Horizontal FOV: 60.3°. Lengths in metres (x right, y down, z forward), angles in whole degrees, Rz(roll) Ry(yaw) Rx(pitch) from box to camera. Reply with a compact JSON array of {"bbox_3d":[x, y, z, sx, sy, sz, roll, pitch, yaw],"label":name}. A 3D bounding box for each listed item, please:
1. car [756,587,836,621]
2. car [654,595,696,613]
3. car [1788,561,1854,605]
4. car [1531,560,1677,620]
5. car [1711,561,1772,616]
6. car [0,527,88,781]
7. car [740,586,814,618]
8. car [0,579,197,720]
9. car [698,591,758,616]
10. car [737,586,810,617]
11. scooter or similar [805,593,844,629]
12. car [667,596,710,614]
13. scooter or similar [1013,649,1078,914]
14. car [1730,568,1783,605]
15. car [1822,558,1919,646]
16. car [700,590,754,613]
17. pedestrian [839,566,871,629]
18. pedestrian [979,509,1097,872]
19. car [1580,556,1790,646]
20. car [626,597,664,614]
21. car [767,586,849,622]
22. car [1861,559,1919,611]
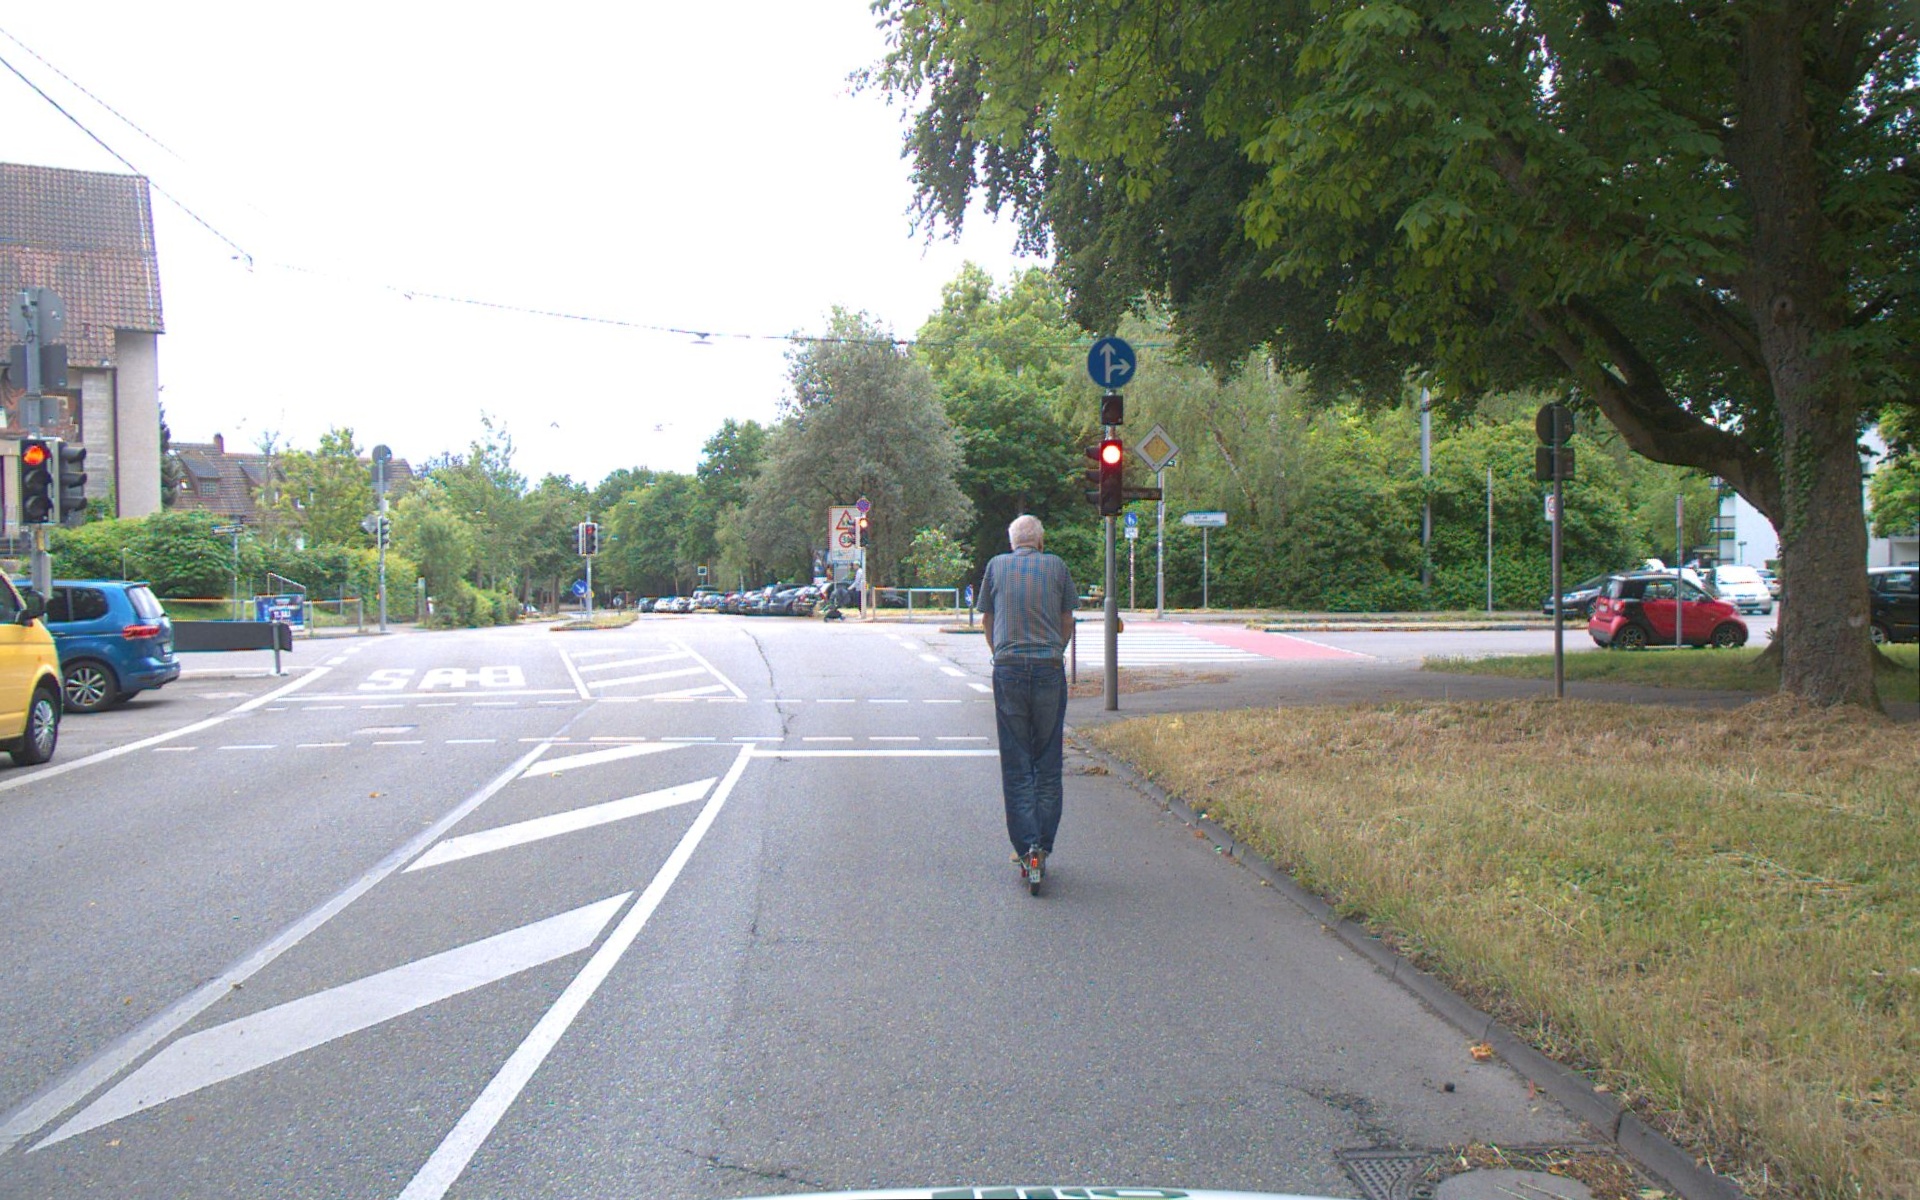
[{"bbox_3d":[-8.526,0.197,86.102,3.792,1.639,1.715,-2,1,-25],"label":"car"},{"bbox_3d":[-28.331,0.421,164.672,3.792,1.639,1.715,-2,1,-25],"label":"car"},{"bbox_3d":[34.441,-0.701,66.241,1.686,1.639,3.856,-2,1,18],"label":"car"},{"bbox_3d":[18.142,-0.288,46.699,3.444,1.557,1.729,-2,1,4],"label":"car"},{"bbox_3d":[25.262,-0.381,53.428,1.688,1.639,3.851,-2,1,26],"label":"car"},{"bbox_3d":[-8.610,0.459,12.784,1.848,2.049,4.557,-1,1,-9],"label":"car"},{"bbox_3d":[-10.311,0.107,93.389,3.792,1.639,1.715,-2,1,-25],"label":"car"},{"bbox_3d":[-11.863,0.625,20.683,3.924,1.639,1.809,-2,1,-17],"label":"car"},{"bbox_3d":[-16.168,0.234,115.460,3.792,1.639,1.715,-2,1,-25],"label":"car"},{"bbox_3d":[-10.798,0.102,95.785,3.792,1.639,1.715,-2,1,-25],"label":"car"},{"bbox_3d":[-4.169,0.333,50.941,1.090,1.100,0.574,-1,0,-18],"label":"scooter or similar"},{"bbox_3d":[-26.339,0.497,160.251,3.792,1.639,1.715,-2,1,-25],"label":"car"},{"bbox_3d":[0.423,0.875,8.392,0.276,1.199,1.177,-1,0,2],"label":"scooter or similar"},{"bbox_3d":[37.451,-0.650,77.853,1.686,1.639,3.856,-2,1,18],"label":"car"},{"bbox_3d":[18.843,0.005,31.924,3.764,1.639,1.728,-2,1,24],"label":"car"},{"bbox_3d":[-18.081,0.139,128.364,3.792,1.639,1.715,-2,1,-25],"label":"car"},{"bbox_3d":[-3.247,-0.081,51.225,0.870,1.895,0.572,-1,0,-17],"label":"pedestrian"},{"bbox_3d":[0.401,0.460,8.656,0.561,1.845,0.420,-1,0,0],"label":"pedestrian"},{"bbox_3d":[14.512,0.006,33.221,3.444,1.639,1.729,-2,1,3],"label":"car"},{"bbox_3d":[-34.607,0.595,181.476,3.792,1.639,1.715,-2,1,-25],"label":"car"},{"bbox_3d":[-7.681,0.205,83.590,3.794,1.639,1.714,-2,1,-26],"label":"car"},{"bbox_3d":[31.790,-0.536,55.858,1.686,1.639,3.856,-2,1,18],"label":"car"}]
